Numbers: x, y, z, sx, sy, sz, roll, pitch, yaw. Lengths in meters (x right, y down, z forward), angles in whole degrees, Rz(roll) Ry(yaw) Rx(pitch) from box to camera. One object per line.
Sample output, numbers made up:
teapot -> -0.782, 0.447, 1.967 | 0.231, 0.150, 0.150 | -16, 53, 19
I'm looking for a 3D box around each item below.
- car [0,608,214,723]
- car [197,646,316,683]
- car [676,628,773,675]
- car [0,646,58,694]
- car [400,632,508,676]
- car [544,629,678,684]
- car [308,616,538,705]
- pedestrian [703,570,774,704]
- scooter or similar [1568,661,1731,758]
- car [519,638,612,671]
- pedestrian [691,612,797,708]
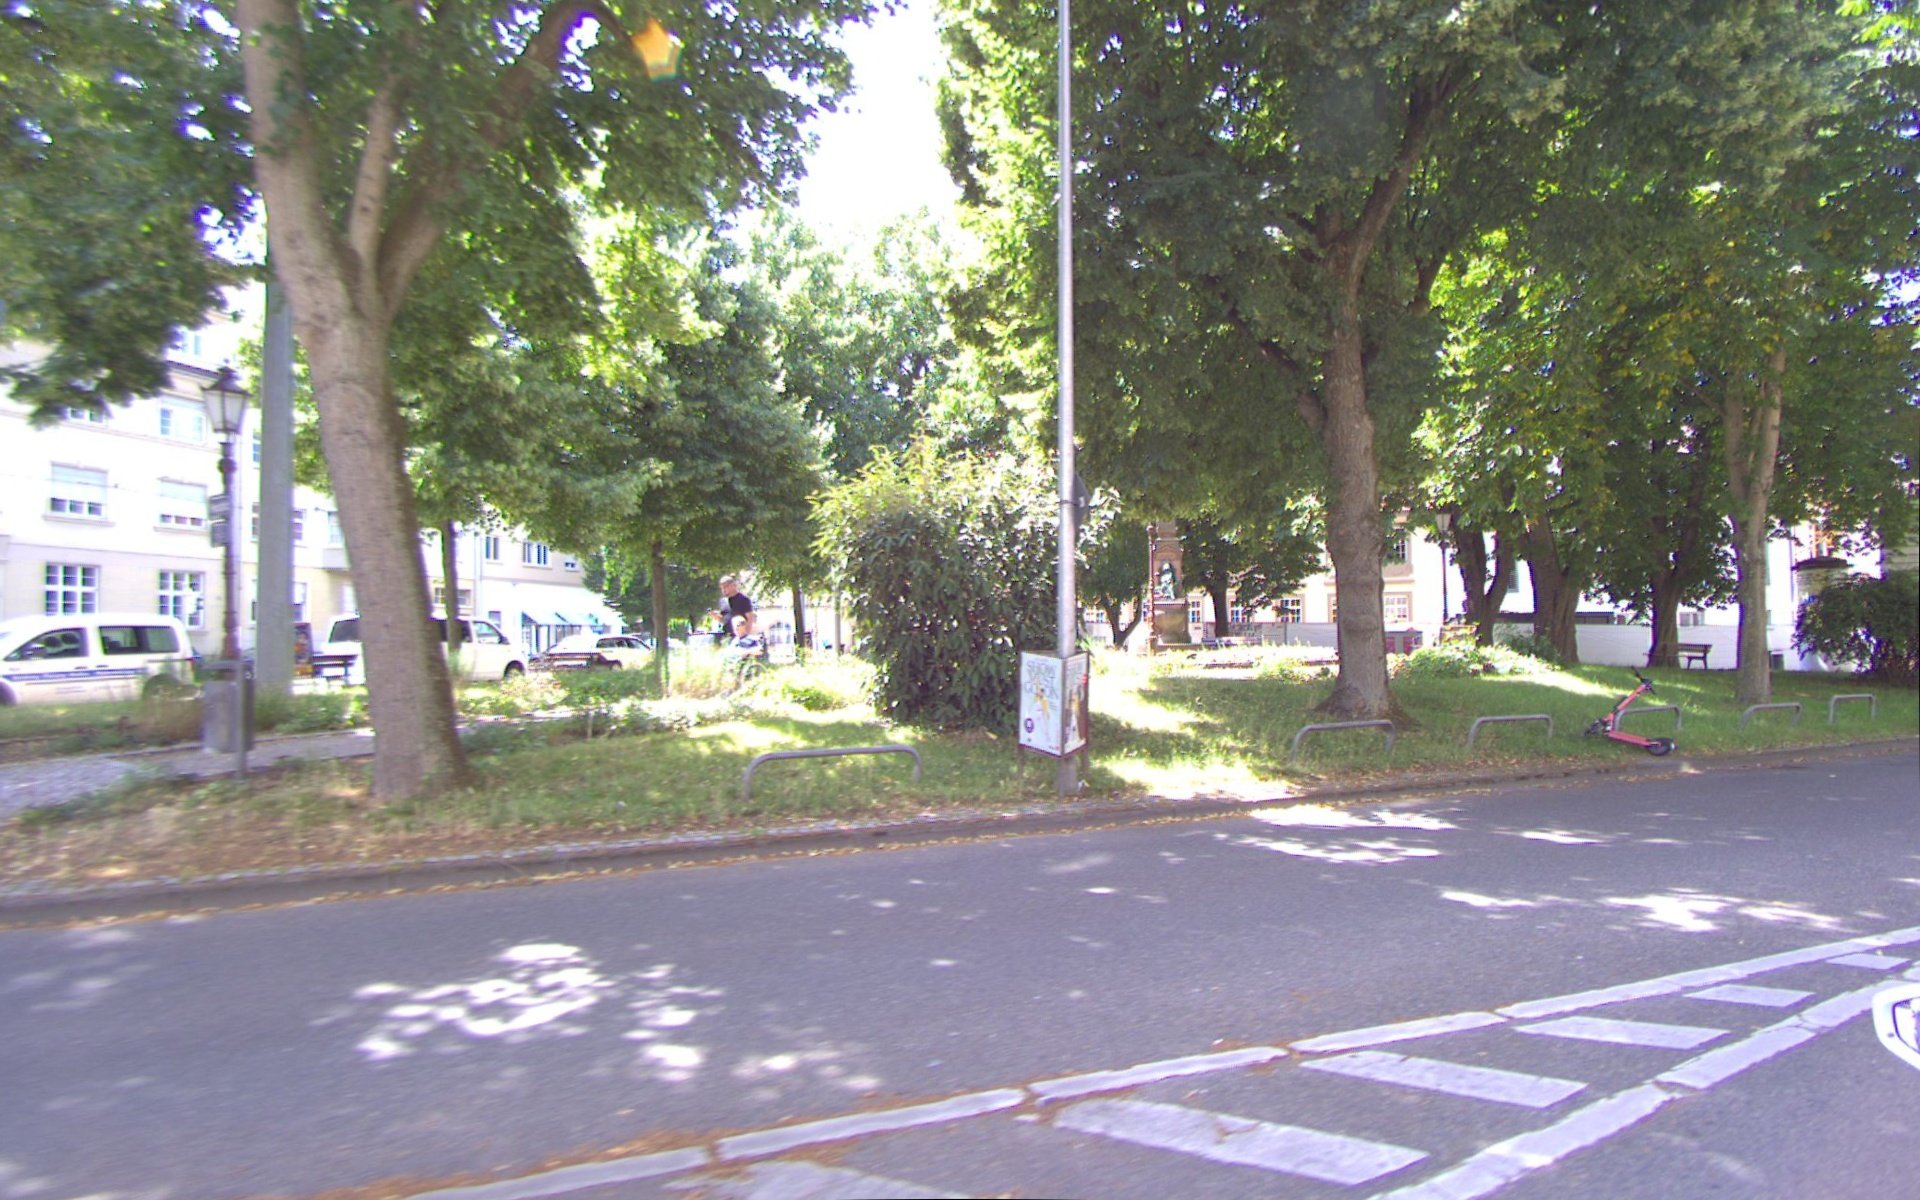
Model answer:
car -> -16.036, 1.123, 17.623 | 1.960, 1.850, 4.424 | -1, -2, 17
car -> -27.379, 2.500, 39.211 | 1.575, 1.294, 3.588 | -4, -3, 17
car -> -9.111, 1.998, 39.241 | 1.753, 1.715, 4.201 | -1, -2, 18
car -> -30.024, 2.165, 30.310 | 1.658, 1.408, 3.859 | -4, -3, 17
car -> -24.391, 2.573, 48.610 | 1.822, 1.936, 4.773 | -4, -3, 17
car -> -11.251, 1.793, 32.710 | 1.753, 1.645, 4.487 | -1, -2, 18
car -> -13.479, 1.492, 25.691 | 2.015, 2.029, 5.250 | -1, -2, 18
pedestrian -> -3.294, 0.543, 14.949 | 0.737, 1.936, 0.682 | -2, -1, 33
scooter or similar -> 9.209, 1.417, 13.432 | 1.436, 1.005, 1.264 | 1, 5, -33
car -> -20.955, 2.874, 53.401 | 4.132, 1.524, 2.005 | -4, -3, 13
pedestrian -> -3.035, 0.819, 14.157 | 0.893, 1.268, 1.145 | -2, -1, 32
